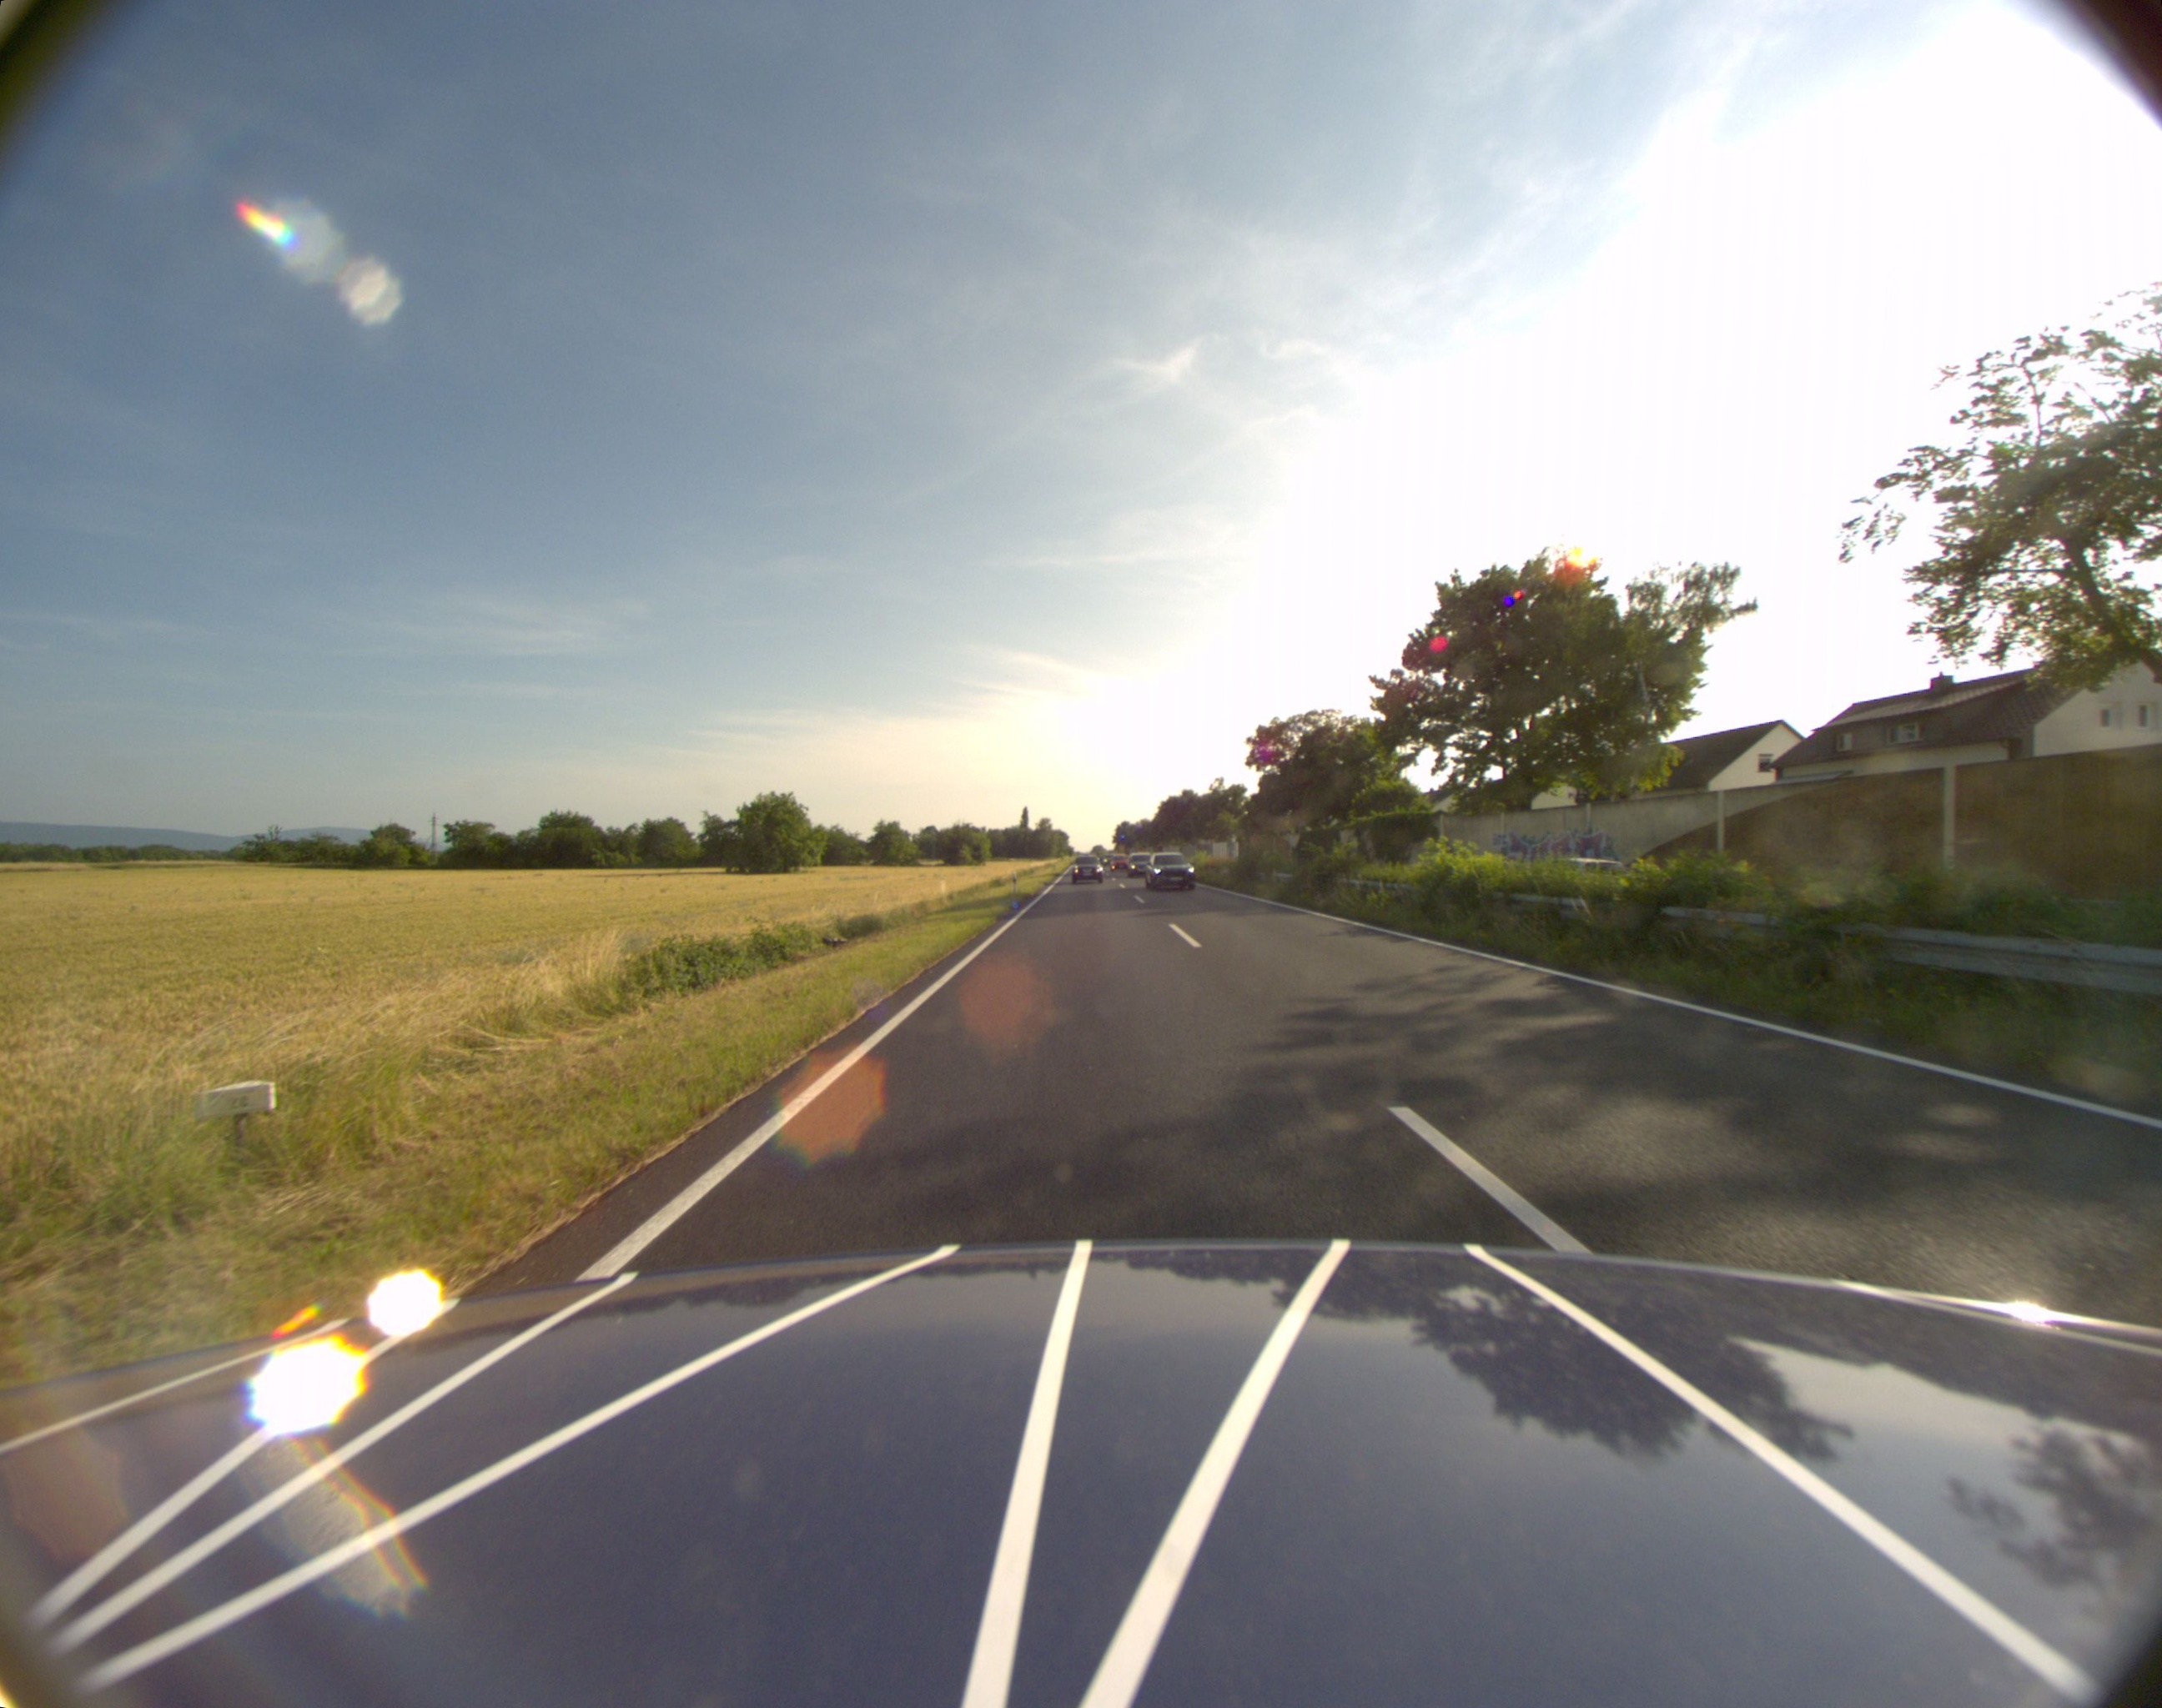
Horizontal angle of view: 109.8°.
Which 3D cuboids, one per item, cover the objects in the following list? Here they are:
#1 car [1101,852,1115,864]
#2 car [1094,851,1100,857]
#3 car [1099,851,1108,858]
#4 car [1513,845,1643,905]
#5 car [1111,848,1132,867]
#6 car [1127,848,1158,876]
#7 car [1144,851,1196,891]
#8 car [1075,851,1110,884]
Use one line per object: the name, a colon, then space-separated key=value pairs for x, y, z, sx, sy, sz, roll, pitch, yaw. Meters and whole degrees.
car: x=3.640 y=0.565 z=103.766 sx=1.700 sy=1.456 sz=3.646 roll=-2 pitch=1 yaw=0
car: x=4.905 y=0.029 z=229.342 sx=1.728 sy=1.525 sz=3.999 roll=-2 pitch=1 yaw=1
car: x=4.960 y=0.123 z=167.617 sx=1.693 sy=1.397 sz=3.999 roll=-2 pitch=1 yaw=0
car: x=15.184 y=0.582 z=23.416 sx=1.811 sy=1.652 sz=3.335 roll=-2 pitch=1 yaw=1
car: x=3.927 y=0.301 z=73.420 sx=1.822 sy=1.661 sz=3.999 roll=-2 pitch=1 yaw=1
car: x=4.255 y=0.524 z=52.836 sx=1.822 sy=1.724 sz=4.000 roll=-2 pitch=1 yaw=1
car: x=3.851 y=0.701 z=33.557 sx=1.822 sy=1.516 sz=4.246 roll=-2 pitch=1 yaw=1
car: x=0.630 y=0.699 z=42.056 sx=1.822 sy=1.661 sz=3.999 roll=-2 pitch=1 yaw=0
